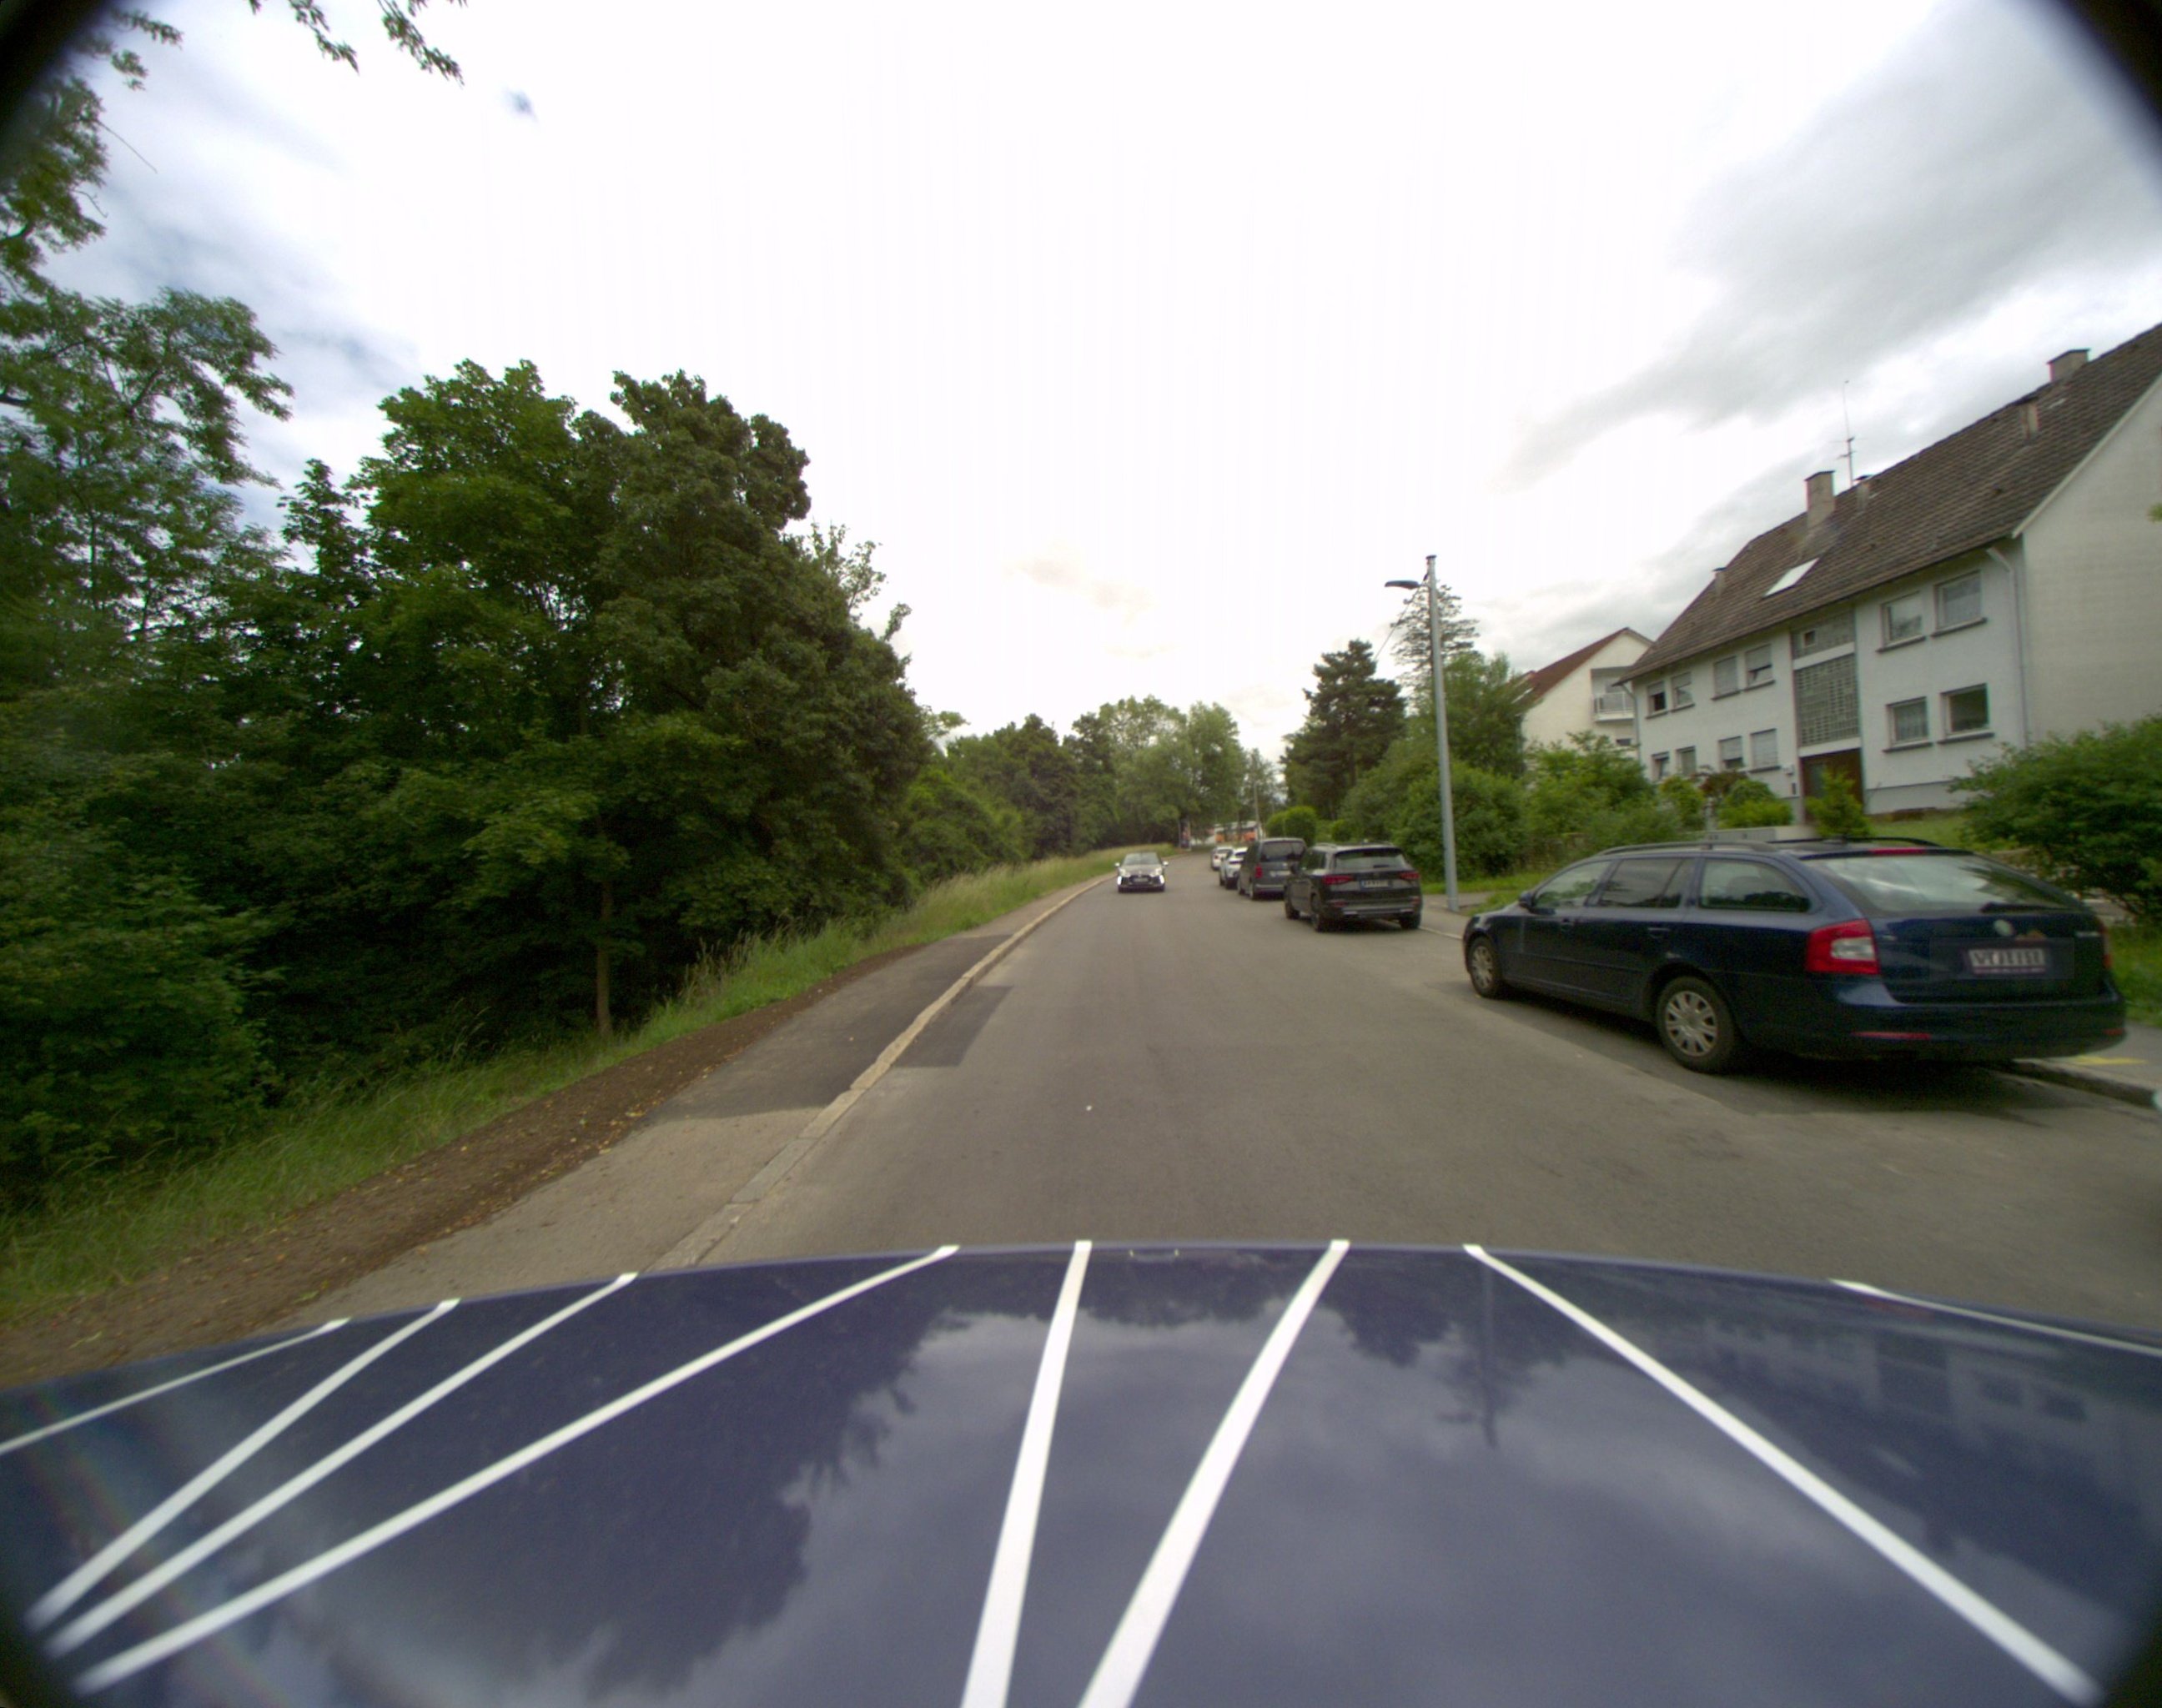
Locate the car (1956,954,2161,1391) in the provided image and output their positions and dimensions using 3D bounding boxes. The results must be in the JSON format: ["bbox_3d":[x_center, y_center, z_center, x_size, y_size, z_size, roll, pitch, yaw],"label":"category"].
[{"bbox_3d":[4.467,1.115,0.787,1.729,1.382,4.726,-1,0,1],"label":"car"}]

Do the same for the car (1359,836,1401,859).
[{"bbox_3d":[18.109,-0.394,46.191,1.648,1.324,3.907,0,0,11],"label":"car"}]

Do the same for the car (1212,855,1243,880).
[{"bbox_3d":[8.990,0.804,46.768,1.735,1.420,3.460,-1,0,9],"label":"car"}]

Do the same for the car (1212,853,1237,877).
[{"bbox_3d":[9.617,0.727,51.035,1.604,1.521,3.590,0,0,10],"label":"car"}]

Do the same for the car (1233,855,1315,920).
[{"bbox_3d":[5.805,0.950,23.306,1.800,1.790,4.065,-1,0,5],"label":"car"}]

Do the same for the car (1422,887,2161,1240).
[{"bbox_3d":[4.683,1.122,6.096,1.731,1.563,4.815,0,-1,0],"label":"car"}]

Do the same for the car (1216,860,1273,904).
[{"bbox_3d":[6.087,0.994,28.640,1.665,1.496,4.046,-1,0,6],"label":"car"}]

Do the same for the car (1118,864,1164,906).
[{"bbox_3d":[2.326,1.118,28.878,1.619,1.460,4.002,0,-1,6],"label":"car"}]

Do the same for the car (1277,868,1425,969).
[{"bbox_3d":[5.049,1.123,14.764,1.665,1.572,4.078,-1,0,4],"label":"car"}]
